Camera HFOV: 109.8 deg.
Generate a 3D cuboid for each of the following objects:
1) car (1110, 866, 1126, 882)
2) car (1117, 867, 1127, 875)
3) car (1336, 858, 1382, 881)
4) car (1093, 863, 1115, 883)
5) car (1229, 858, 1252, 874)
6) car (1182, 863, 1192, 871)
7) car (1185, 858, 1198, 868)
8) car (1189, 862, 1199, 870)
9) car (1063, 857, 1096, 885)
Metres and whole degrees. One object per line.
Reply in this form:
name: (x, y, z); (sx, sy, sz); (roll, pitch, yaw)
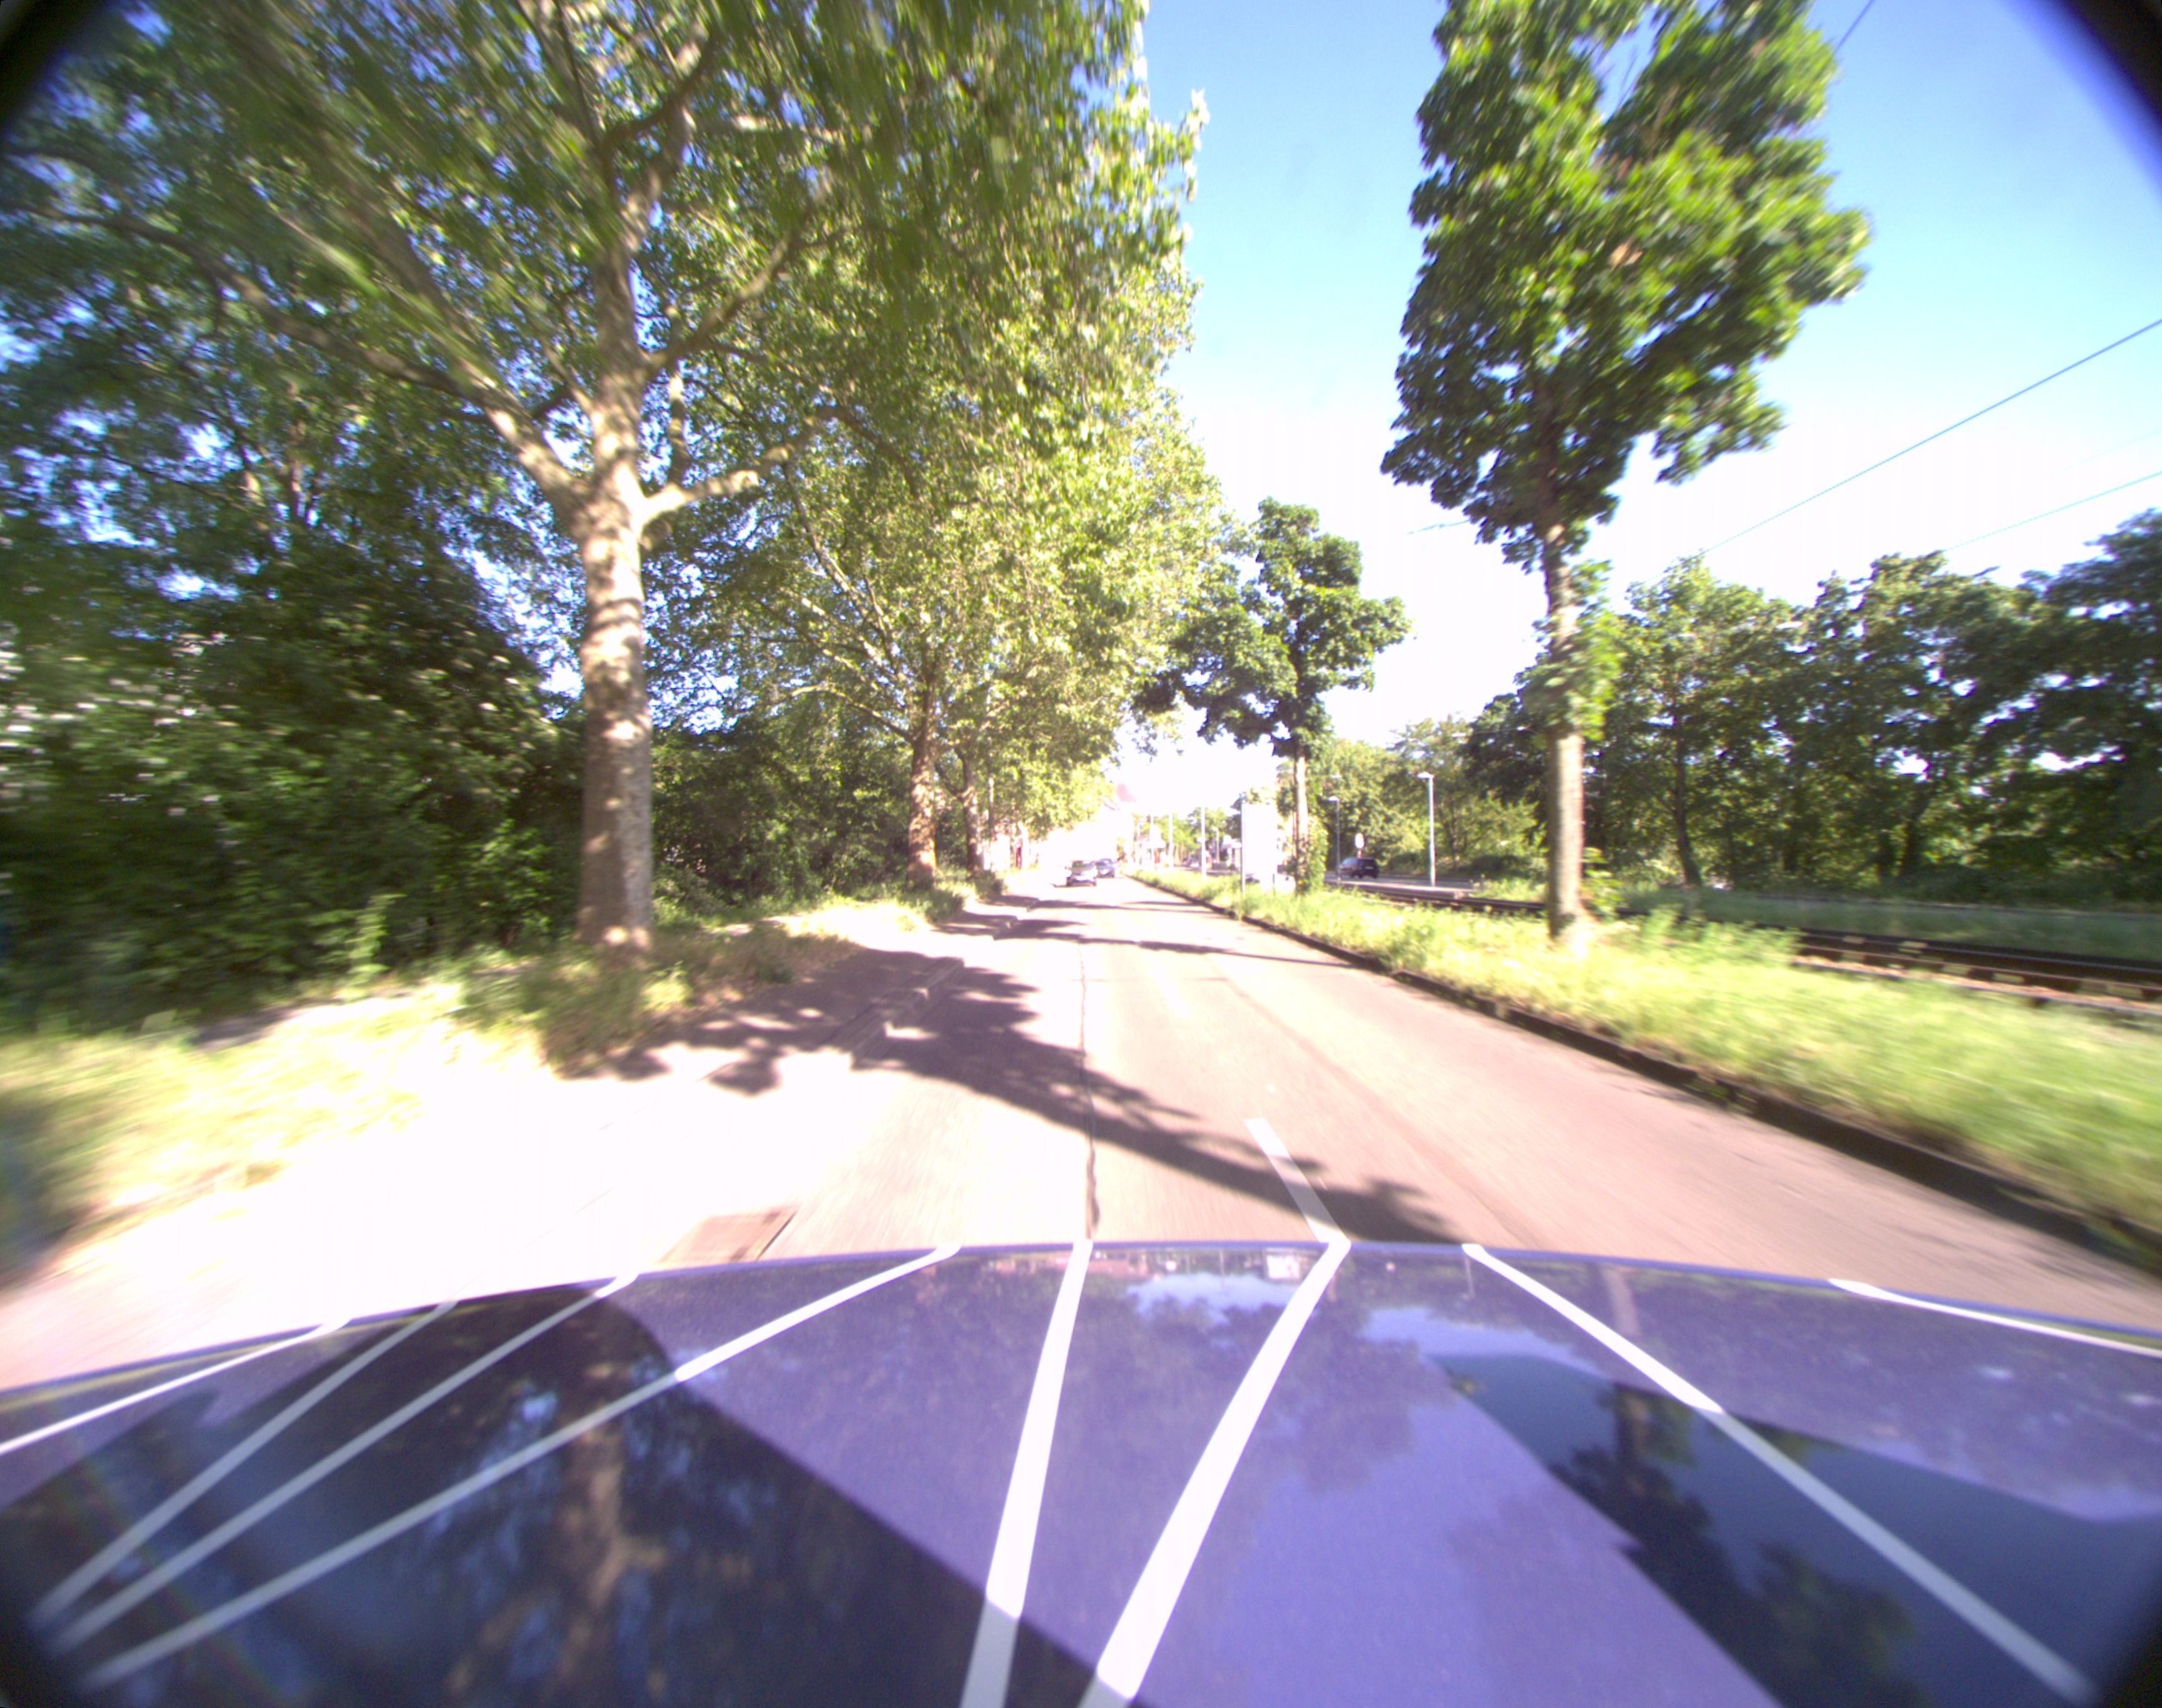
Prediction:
car: (3.953, 2.118, 81.686); (1.590, 1.477, 3.547); (-3, 0, 1)
car: (6.774, 2.784, 125.291); (1.405, 1.204, 3.240); (-3, 0, 4)
car: (19.399, 1.083, 53.290); (1.640, 1.486, 4.592); (1, 0, 2)
car: (1.903, 1.603, 63.962); (1.714, 1.477, 3.547); (-3, 0, 1)
car: (16.709, 1.272, 79.763); (1.613, 1.548, 3.674); (-3, 0, 1)
car: (23.113, 2.822, 165.337); (1.853, 1.477, 3.548); (-3, 0, 5)
car: (17.847, 1.428, 122.966); (1.613, 1.548, 3.674); (-3, 0, 1)
car: (22.151, 2.390, 149.129); (1.852, 1.371, 3.442); (-3, 0, 10)
car: (-0.098, 0.976, 44.800); (1.808, 1.477, 3.546); (-3, 0, 0)
